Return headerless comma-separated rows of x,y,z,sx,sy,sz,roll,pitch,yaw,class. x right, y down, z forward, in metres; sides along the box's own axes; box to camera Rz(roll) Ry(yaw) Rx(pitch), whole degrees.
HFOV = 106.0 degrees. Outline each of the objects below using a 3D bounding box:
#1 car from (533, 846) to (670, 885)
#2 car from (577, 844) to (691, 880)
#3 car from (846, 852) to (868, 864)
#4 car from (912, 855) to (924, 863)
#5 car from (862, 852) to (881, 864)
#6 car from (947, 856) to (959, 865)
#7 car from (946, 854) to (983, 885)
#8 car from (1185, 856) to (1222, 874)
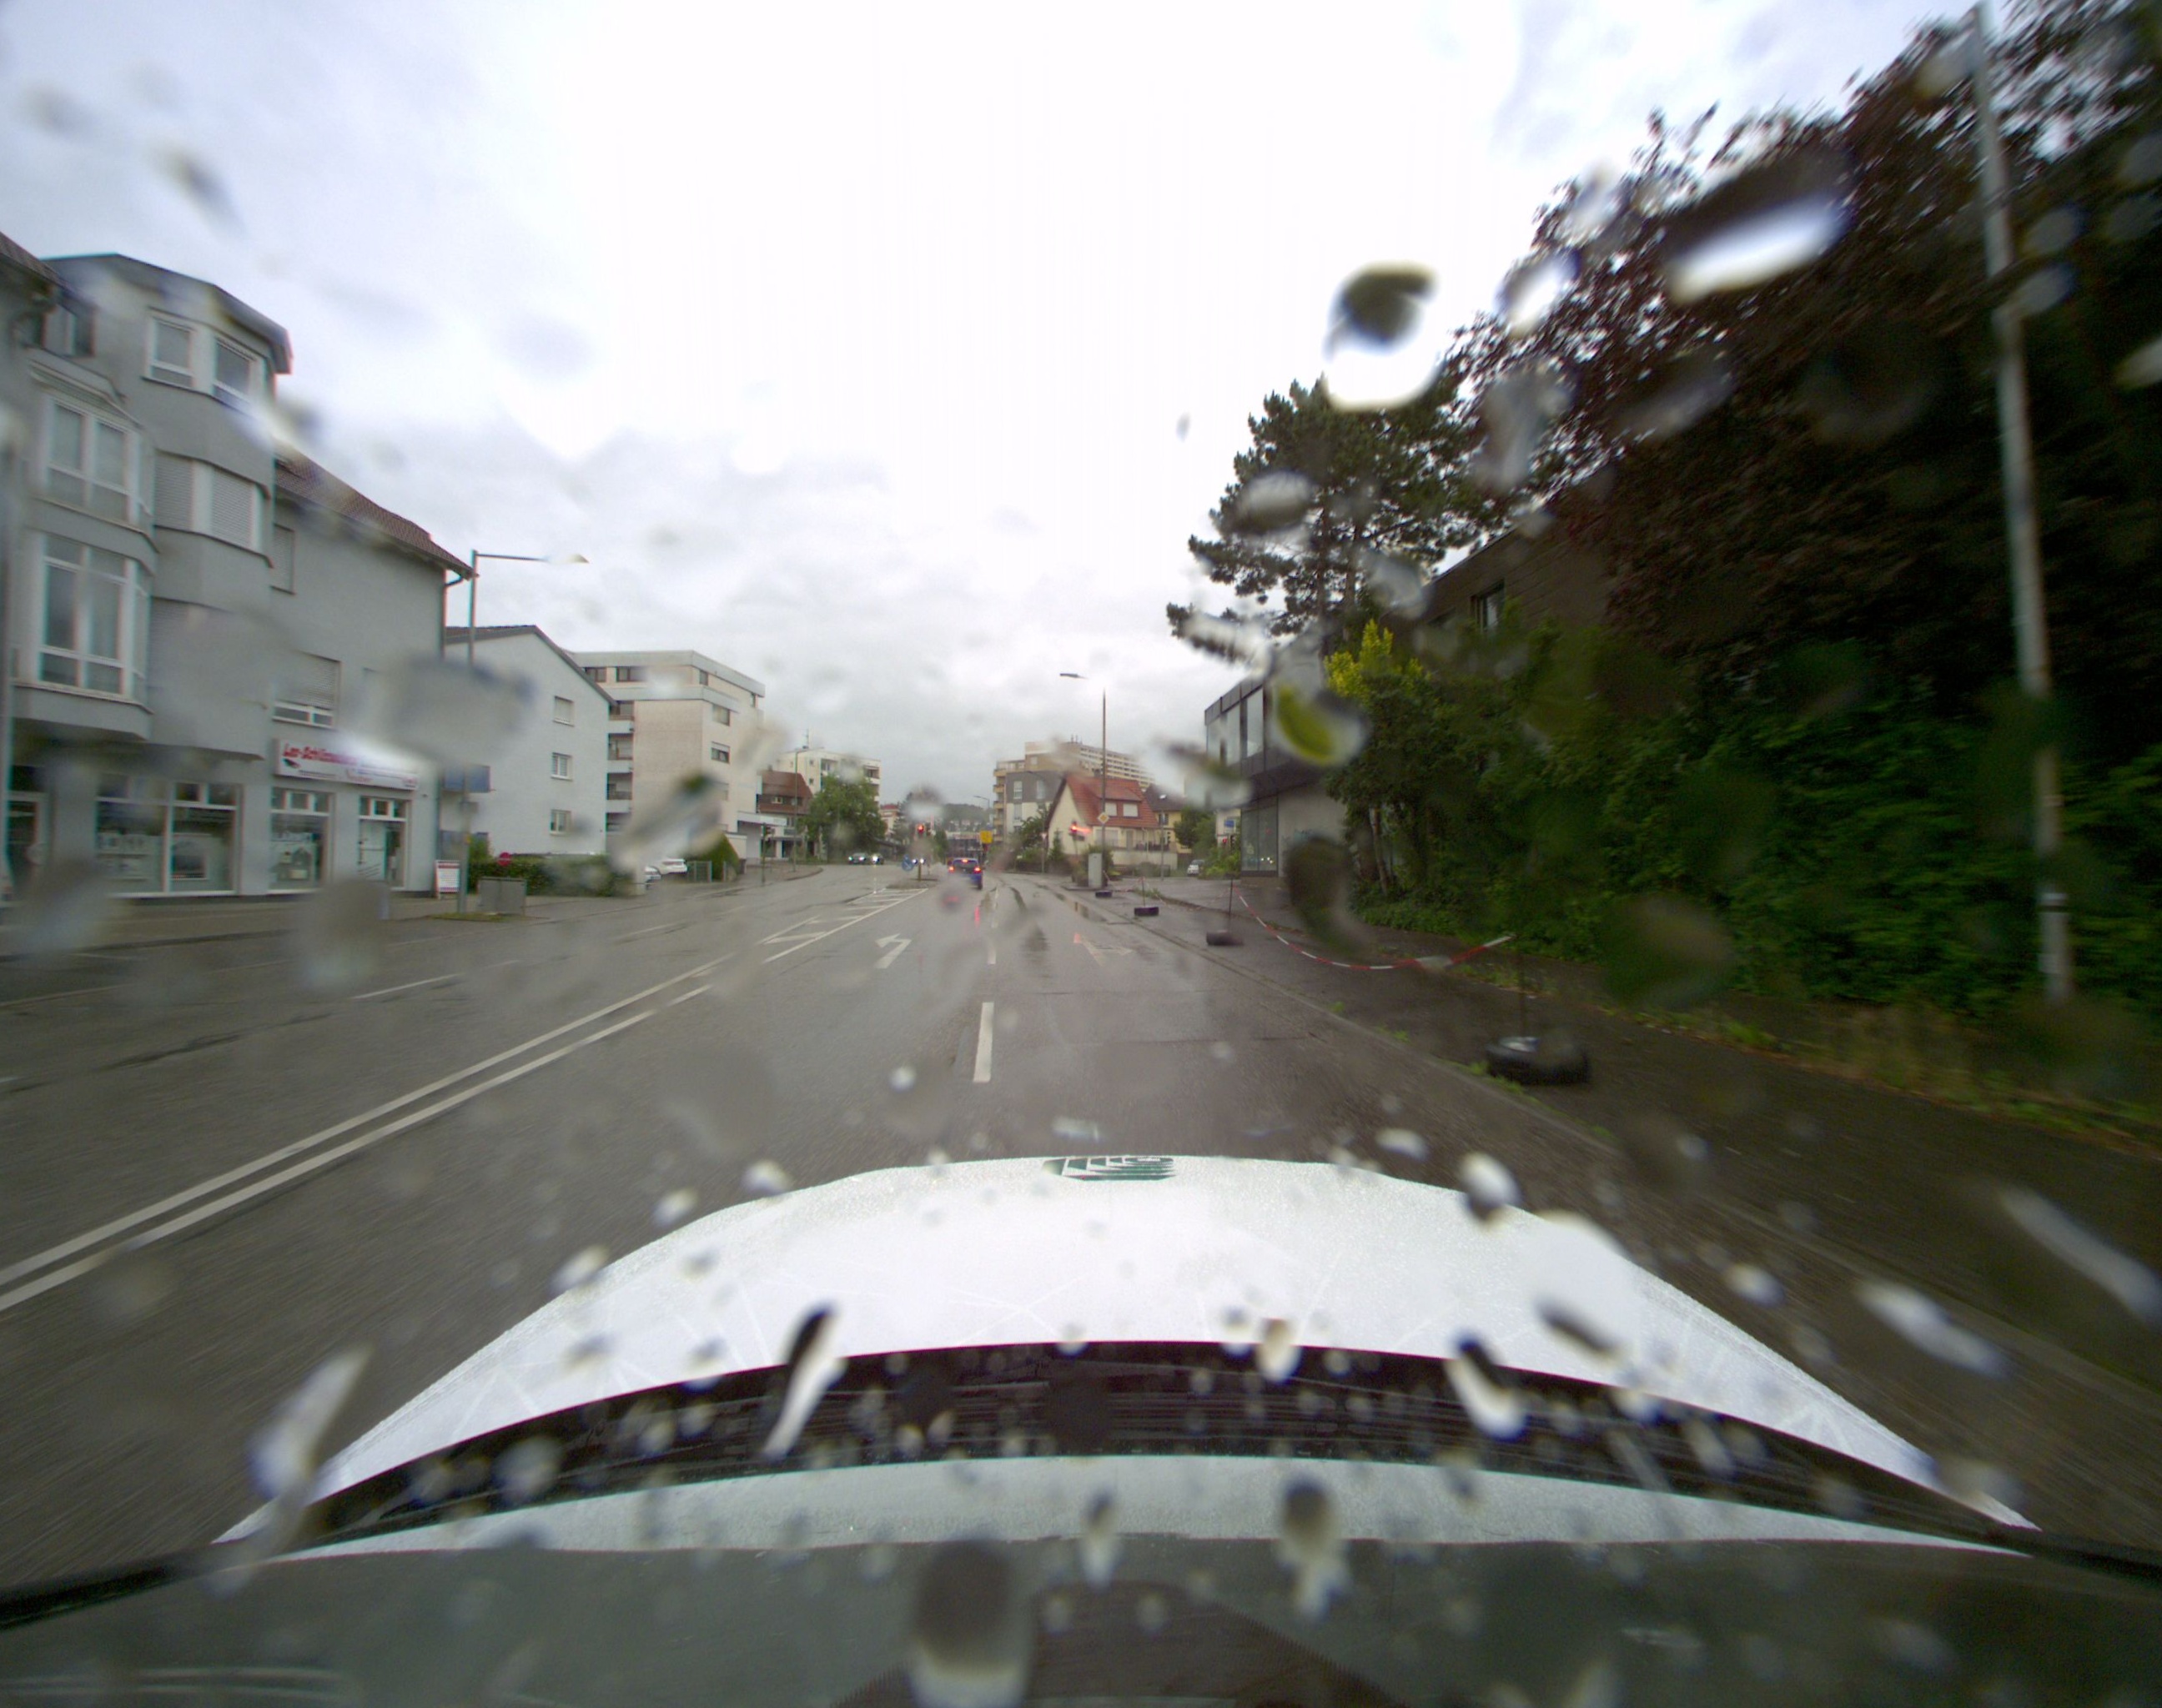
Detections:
-18.825,0.449,32.094,4.206,1.474,1.904,0,0,-1,car
-21.552,0.381,39.366,4.431,1.637,1.941,0,0,4,car
-26.191,0.480,95.261,1.776,1.420,3.822,1,0,-6,car
-29.680,0.891,148.718,1.776,1.420,3.822,1,0,-6,car
-26.273,0.494,102.375,1.713,1.387,4.012,1,0,-6,car
-23.078,1.180,146.533,1.810,1.486,4.181,0,0,-5,car
-5.564,0.710,39.303,1.576,1.411,3.264,1,0,-5,car
10.614,0.925,70.524,1.723,1.514,4.025,1,0,31,car
